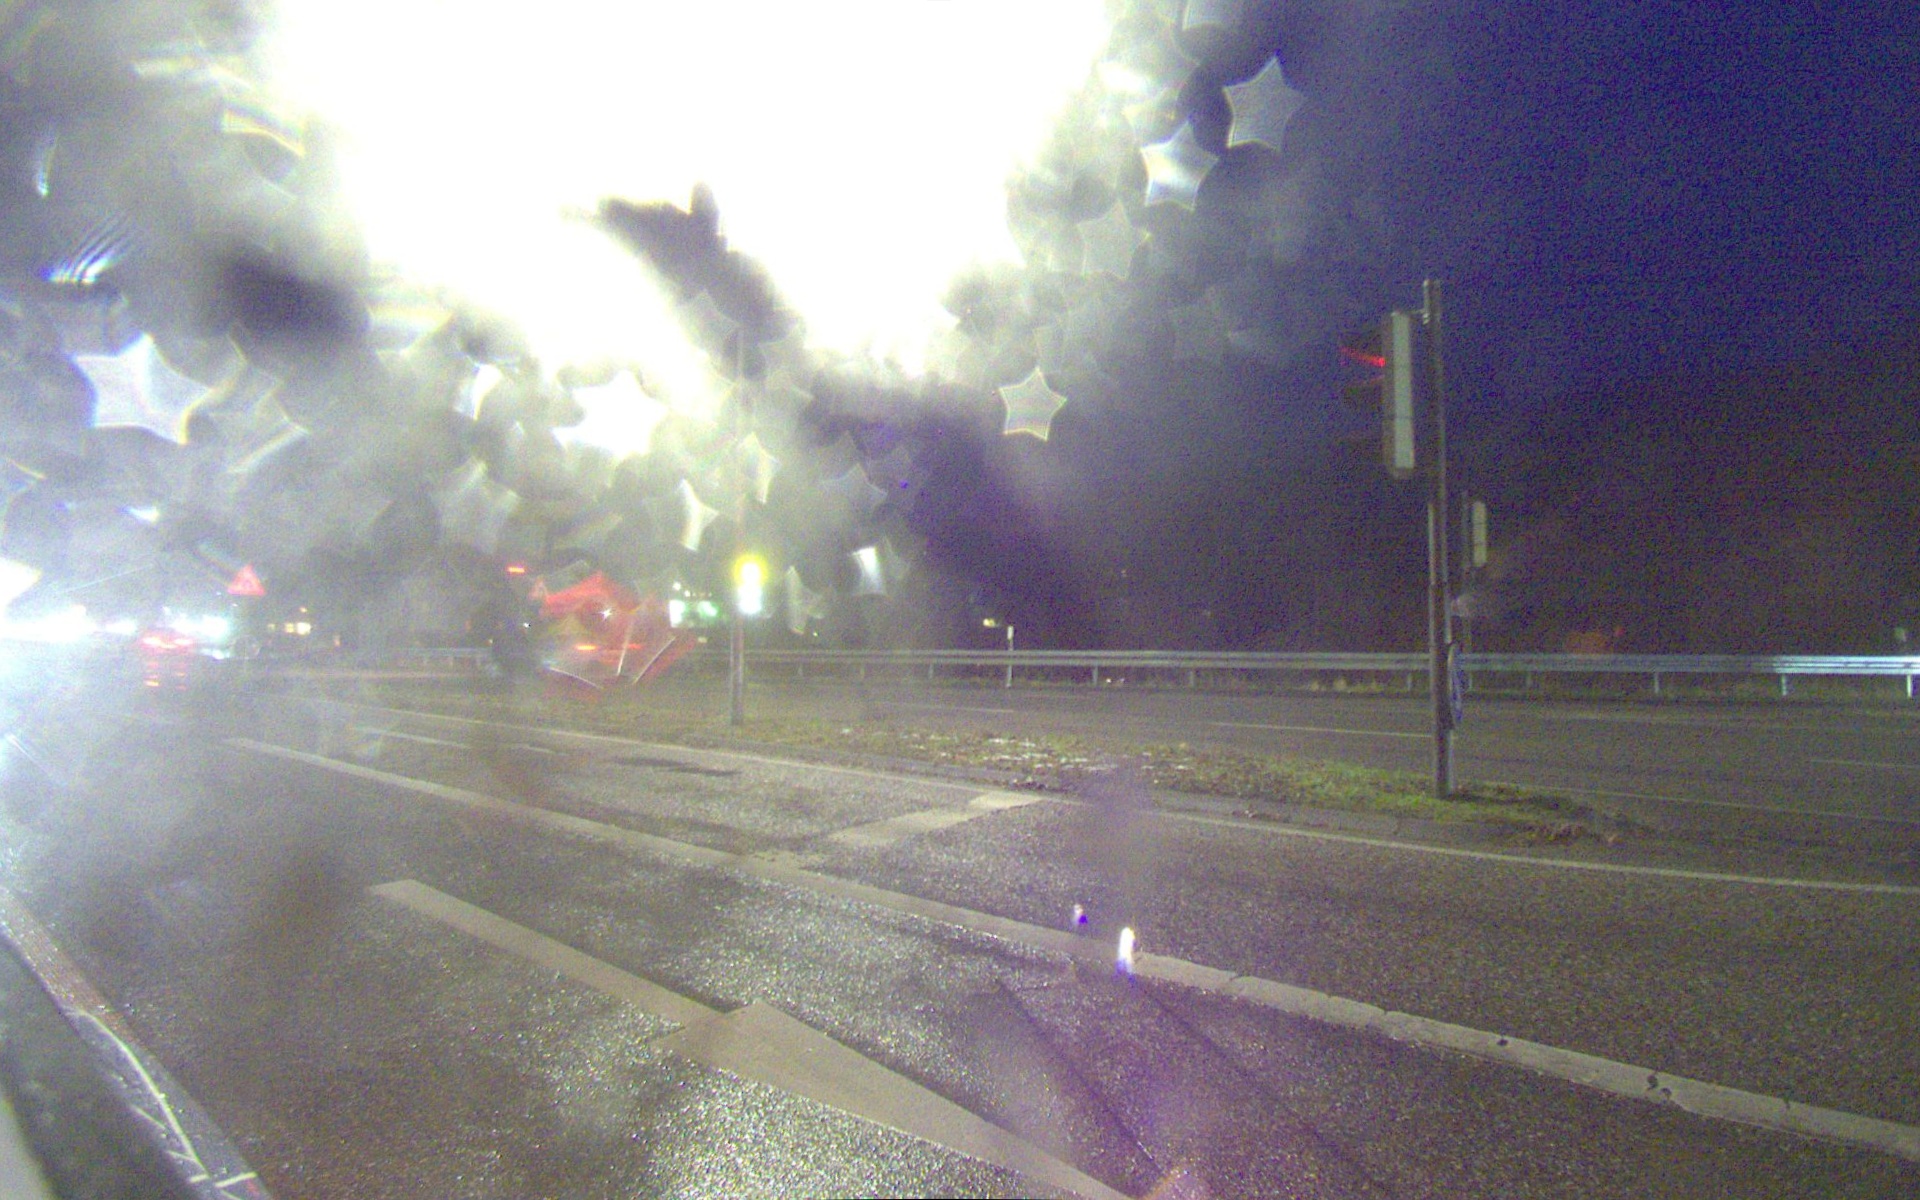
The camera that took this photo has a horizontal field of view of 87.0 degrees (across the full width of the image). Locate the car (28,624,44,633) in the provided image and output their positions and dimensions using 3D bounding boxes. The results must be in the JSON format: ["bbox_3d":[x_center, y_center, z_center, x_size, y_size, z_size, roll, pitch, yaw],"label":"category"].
[{"bbox_3d":[-157.672,4.901,172.678,1.780,1.435,4.213,0,0,-39],"label":"car"}]

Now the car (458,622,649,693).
[{"bbox_3d":[-10.078,1.351,24.978,4.872,1.515,1.734,0,0,29],"label":"car"}]

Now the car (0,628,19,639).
[{"bbox_3d":[-143.854,5.045,153.080,1.780,1.435,4.215,0,0,-37],"label":"car"}]

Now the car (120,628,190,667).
[{"bbox_3d":[-38.219,2.191,48.016,4.503,1.665,1.690,0,0,40],"label":"car"}]
